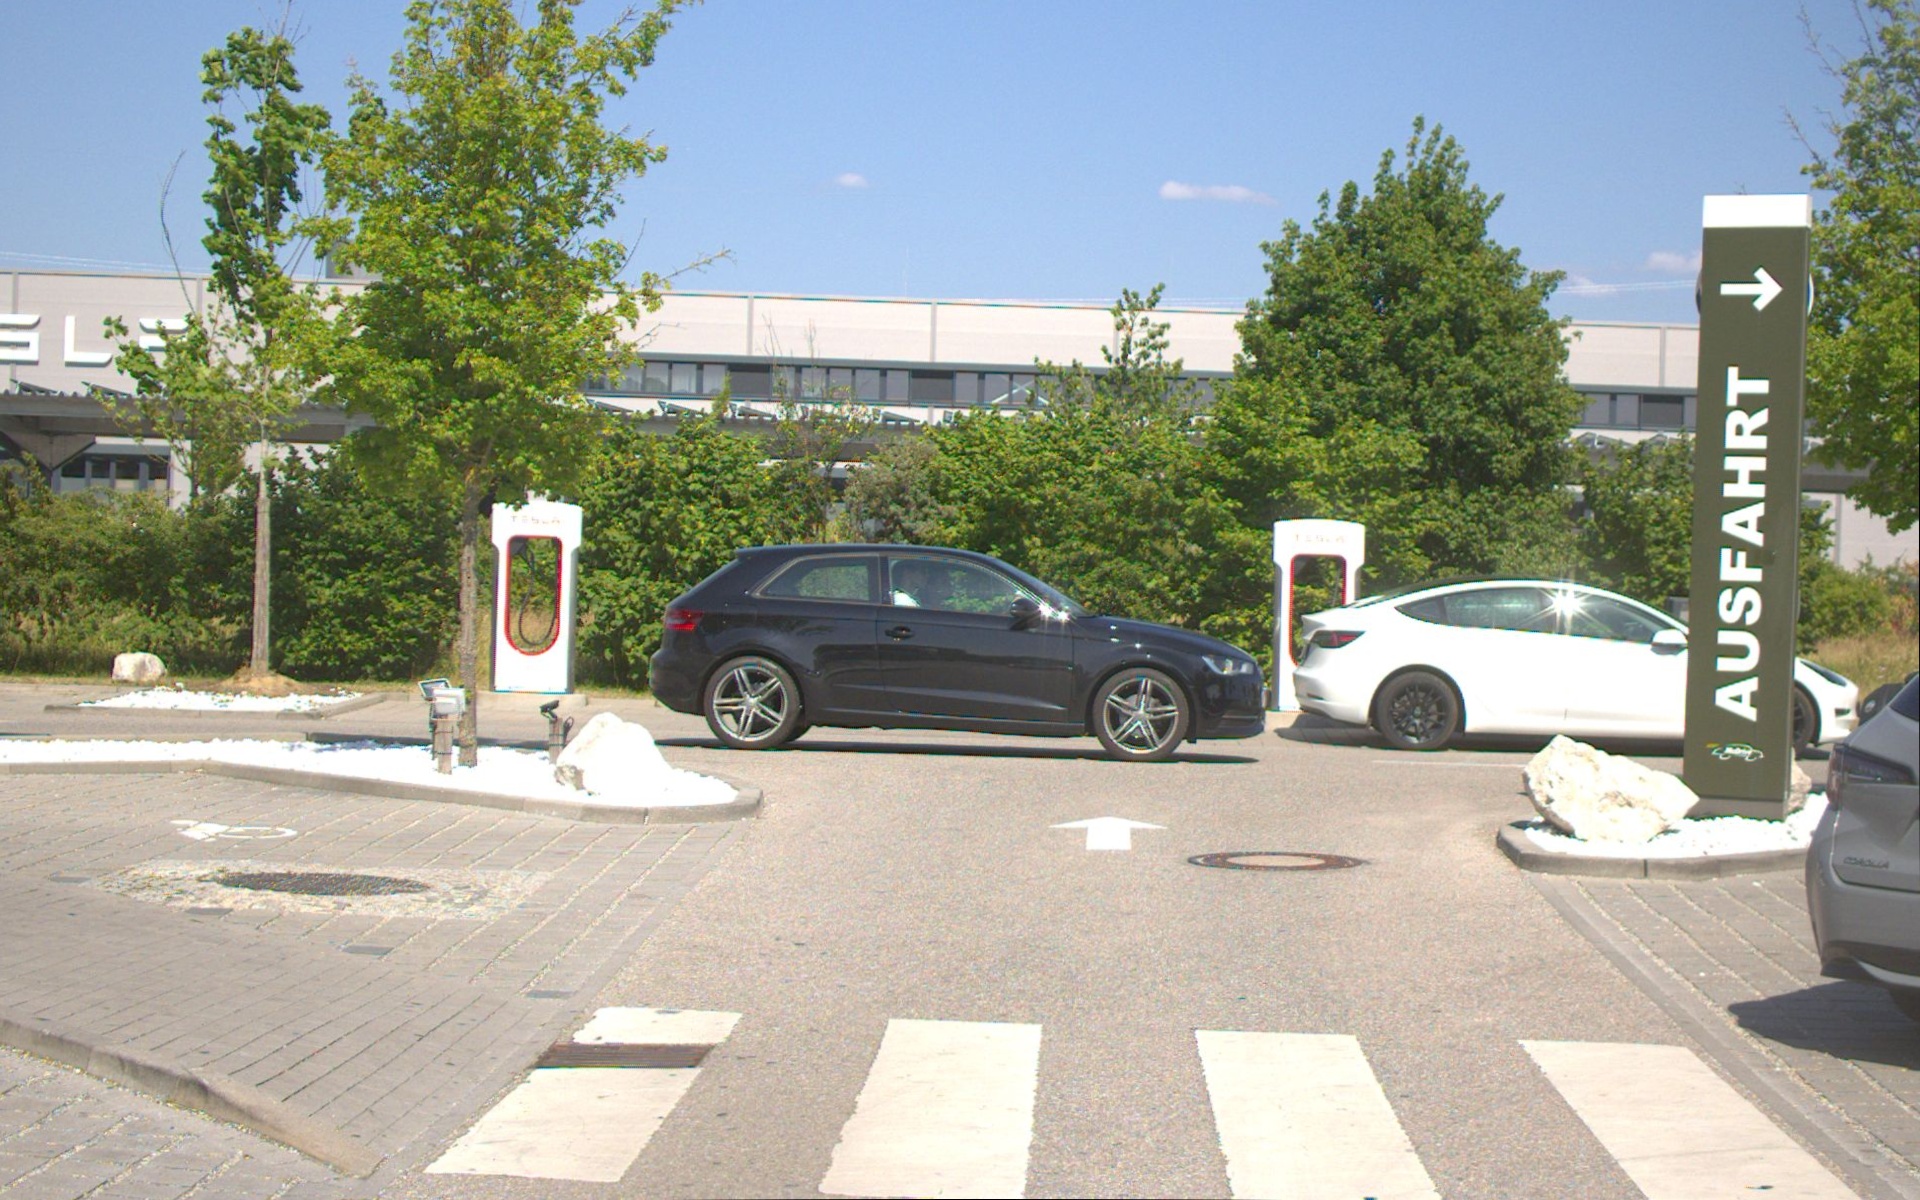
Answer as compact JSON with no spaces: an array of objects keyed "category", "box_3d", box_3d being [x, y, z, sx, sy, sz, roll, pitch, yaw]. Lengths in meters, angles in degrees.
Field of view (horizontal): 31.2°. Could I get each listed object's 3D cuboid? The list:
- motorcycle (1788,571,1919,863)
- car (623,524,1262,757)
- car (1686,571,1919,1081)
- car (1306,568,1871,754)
[{"category":"motorcycle","box_3d":[4.932,0.509,15.993,1.070,1.246,2.246,4,4,44]},{"category":"car","box_3d":[-0.069,0.286,23.546,4.201,1.436,1.698,1,-1,4]},{"category":"car","box_3d":[4.593,0.648,11.237,4.649,1.442,1.835,0,2,-40]},{"category":"car","box_3d":[5.127,0.476,28.545,4.435,1.373,1.822,2,1,5]}]
